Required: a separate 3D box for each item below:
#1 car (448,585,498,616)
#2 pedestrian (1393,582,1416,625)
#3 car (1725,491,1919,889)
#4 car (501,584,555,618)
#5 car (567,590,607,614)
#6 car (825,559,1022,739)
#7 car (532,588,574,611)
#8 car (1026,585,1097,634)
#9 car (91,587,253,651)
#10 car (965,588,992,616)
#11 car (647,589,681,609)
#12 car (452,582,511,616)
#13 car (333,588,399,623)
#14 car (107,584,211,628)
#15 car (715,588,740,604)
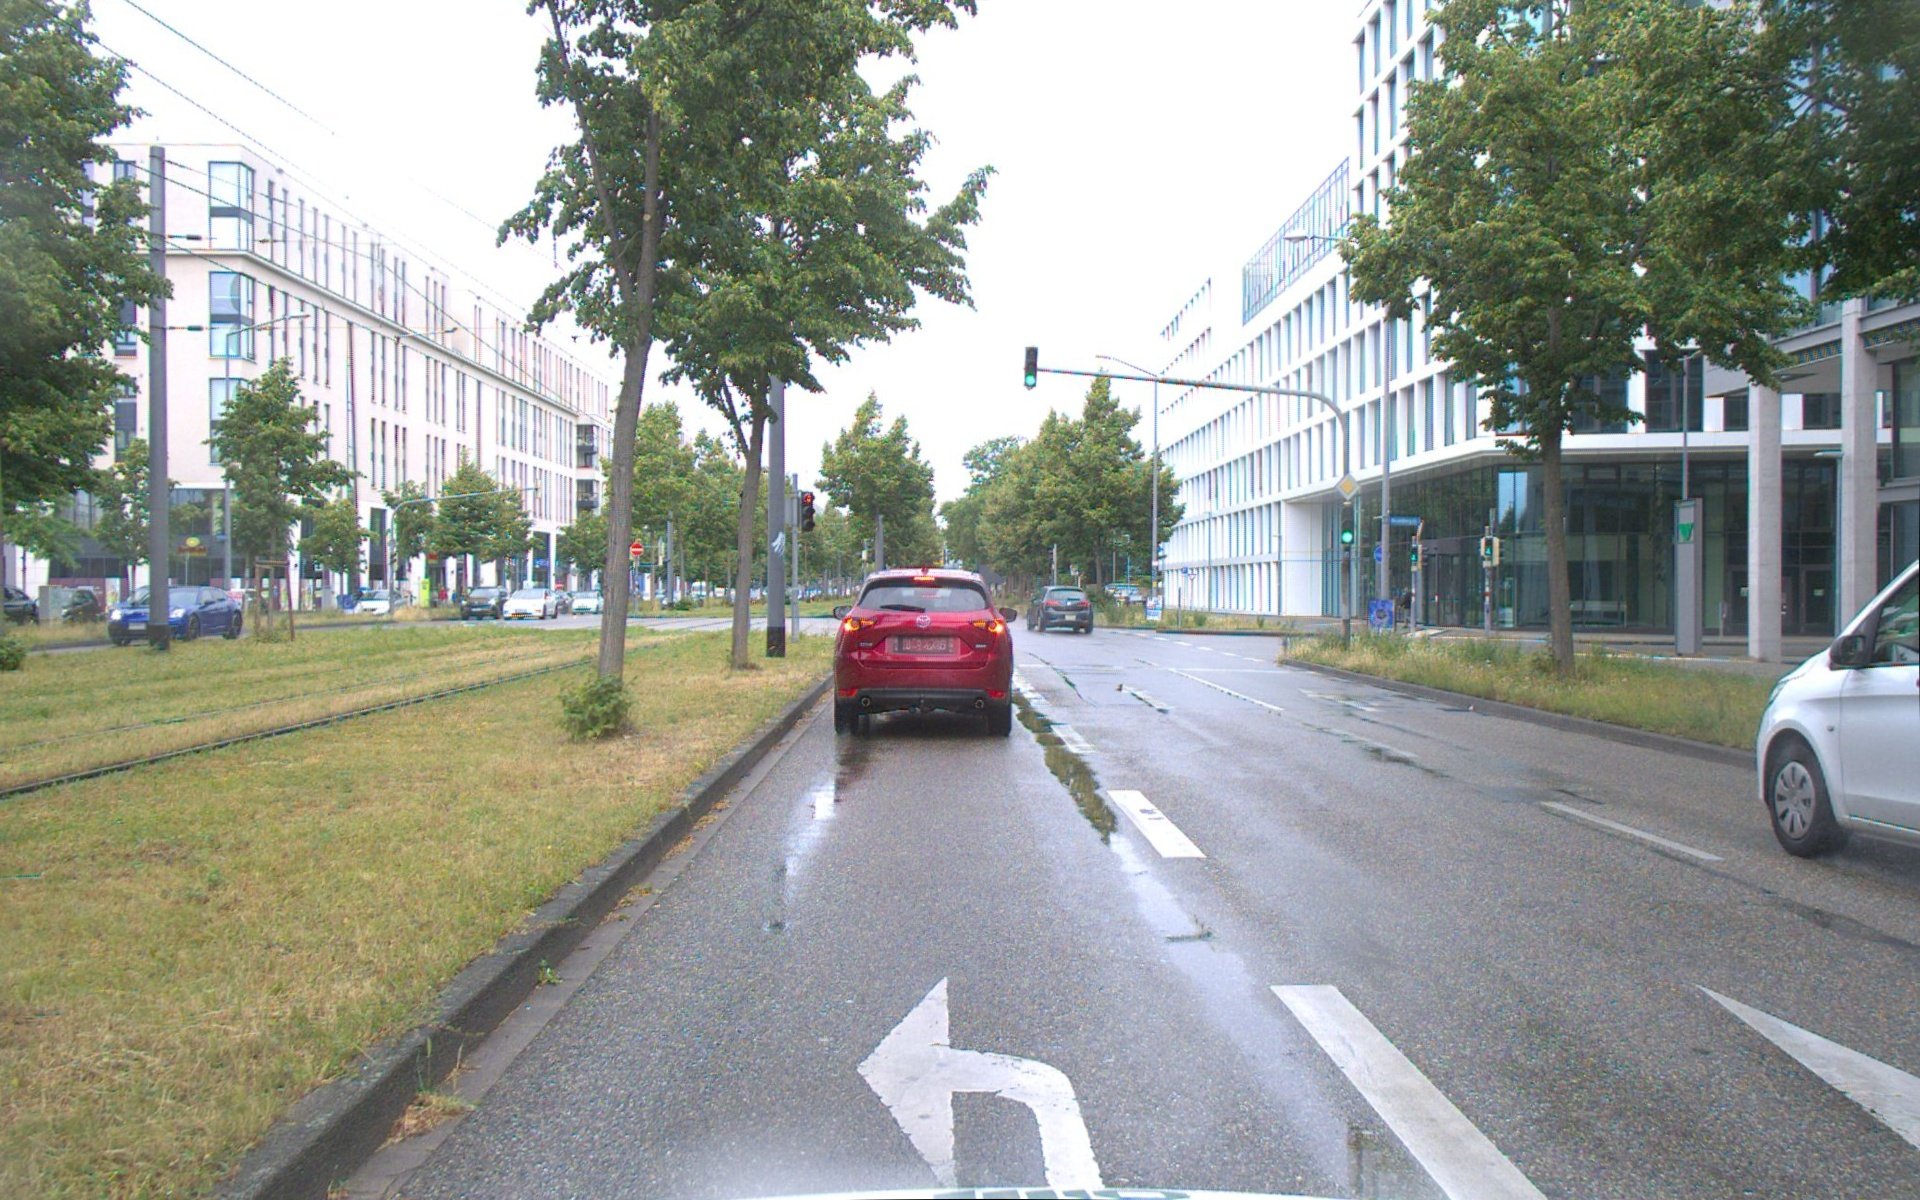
[{"bbox_3d":[-29.841,0.017,101.453,1.953,1.870,3.999,1,1,-2],"label":"car"},{"bbox_3d":[18.156,0.154,67.576,0.664,1.737,0.783,1,0,-5],"label":"pedestrian"},{"bbox_3d":[5.843,0.466,7.904,1.927,2.014,5.090,1,0,-1],"label":"car"},{"bbox_3d":[-20.079,0.033,76.995,1.956,1.510,4.437,1,1,-8],"label":"car"},{"bbox_3d":[-23.974,0.112,106.391,1.955,1.510,4.440,0,0,-6],"label":"car"},{"bbox_3d":[-0.397,0.448,17.786,1.860,1.706,3.999,1,1,-2],"label":"car"},{"bbox_3d":[-27.024,-0.050,110.018,1.954,1.510,4.442,0,1,-4],"label":"car"},{"bbox_3d":[3.198,0.265,52.801,1.710,1.490,3.777,0,1,-5],"label":"car"},{"bbox_3d":[-20.295,0.444,42.865,1.953,1.548,5.009,0,1,-2],"label":"car"},{"bbox_3d":[1.409,0.145,126.803,1.953,2.049,3.999,0,1,-1],"label":"car"},{"bbox_3d":[-22.346,-0.085,124.947,1.954,1.510,4.442,0,0,-3],"label":"car"},{"bbox_3d":[-23.806,-0.069,82.417,1.954,1.646,3.998,0,1,-3],"label":"car"},{"bbox_3d":[-29.079,0.255,81.084,1.954,1.646,3.998,0,1,-3],"label":"car"},{"bbox_3d":[-28.657,0.187,59.351,1.955,1.510,4.440,1,1,-6],"label":"car"},{"bbox_3d":[-23.160,-0.391,164.745,1.953,1.510,4.445,0,0,-1],"label":"car"}]
